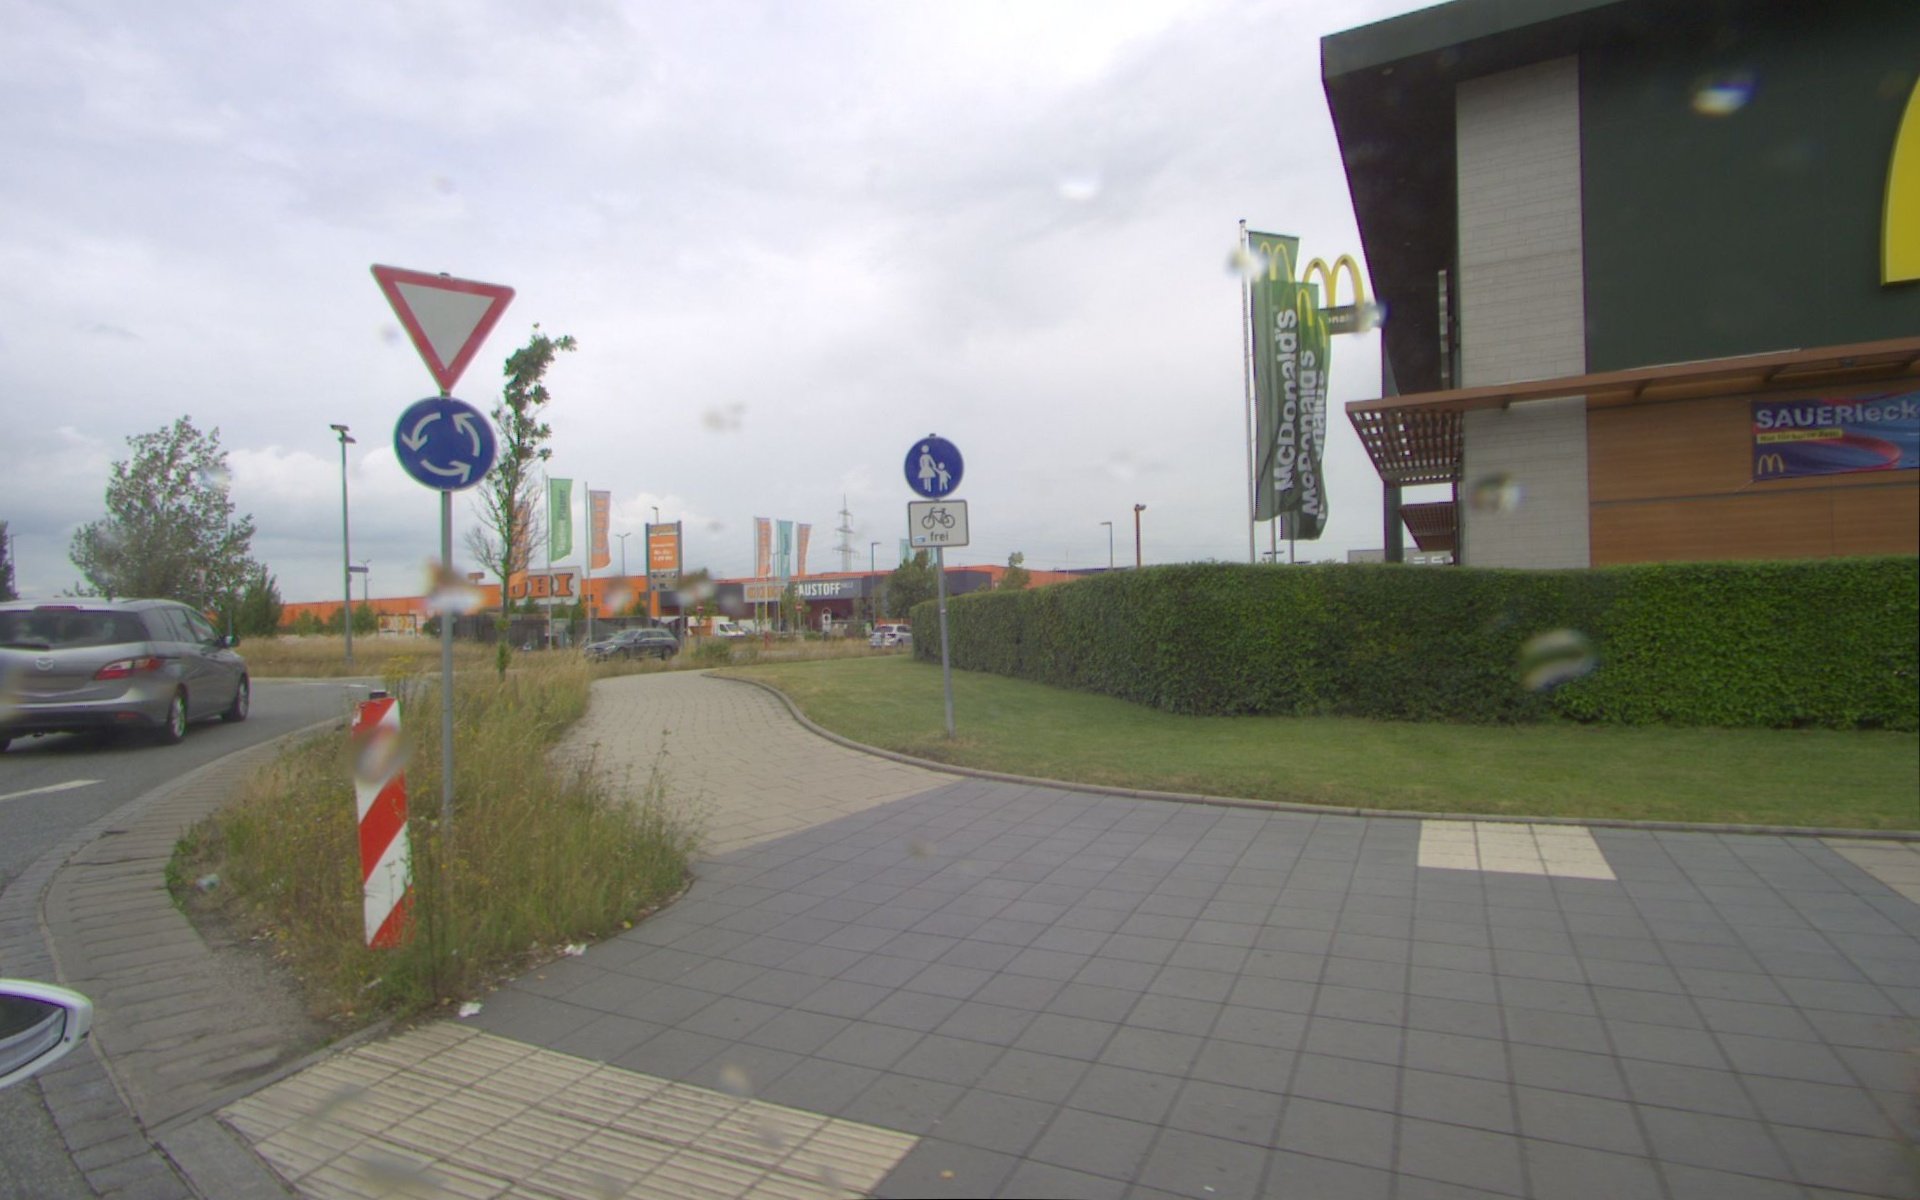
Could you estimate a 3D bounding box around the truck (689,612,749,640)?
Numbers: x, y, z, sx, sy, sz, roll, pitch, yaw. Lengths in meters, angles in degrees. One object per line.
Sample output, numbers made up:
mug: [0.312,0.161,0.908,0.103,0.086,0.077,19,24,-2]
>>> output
truck: [-24.385,2.651,101.291,5.454,2.514,2.437,-3,-3,19]

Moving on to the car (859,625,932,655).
car: [-3.396,2.099,53.377,1.789,1.483,3.977,1,-1,35]

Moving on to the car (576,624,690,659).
car: [-14.269,1.839,43.976,1.901,1.421,4.665,-1,-3,32]

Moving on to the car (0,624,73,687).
car: [-24.182,1.316,24.654,3.925,1.422,1.741,1,0,17]

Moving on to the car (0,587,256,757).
car: [-9.707,0.690,11.585,1.716,1.620,3.983,2,0,-23]
